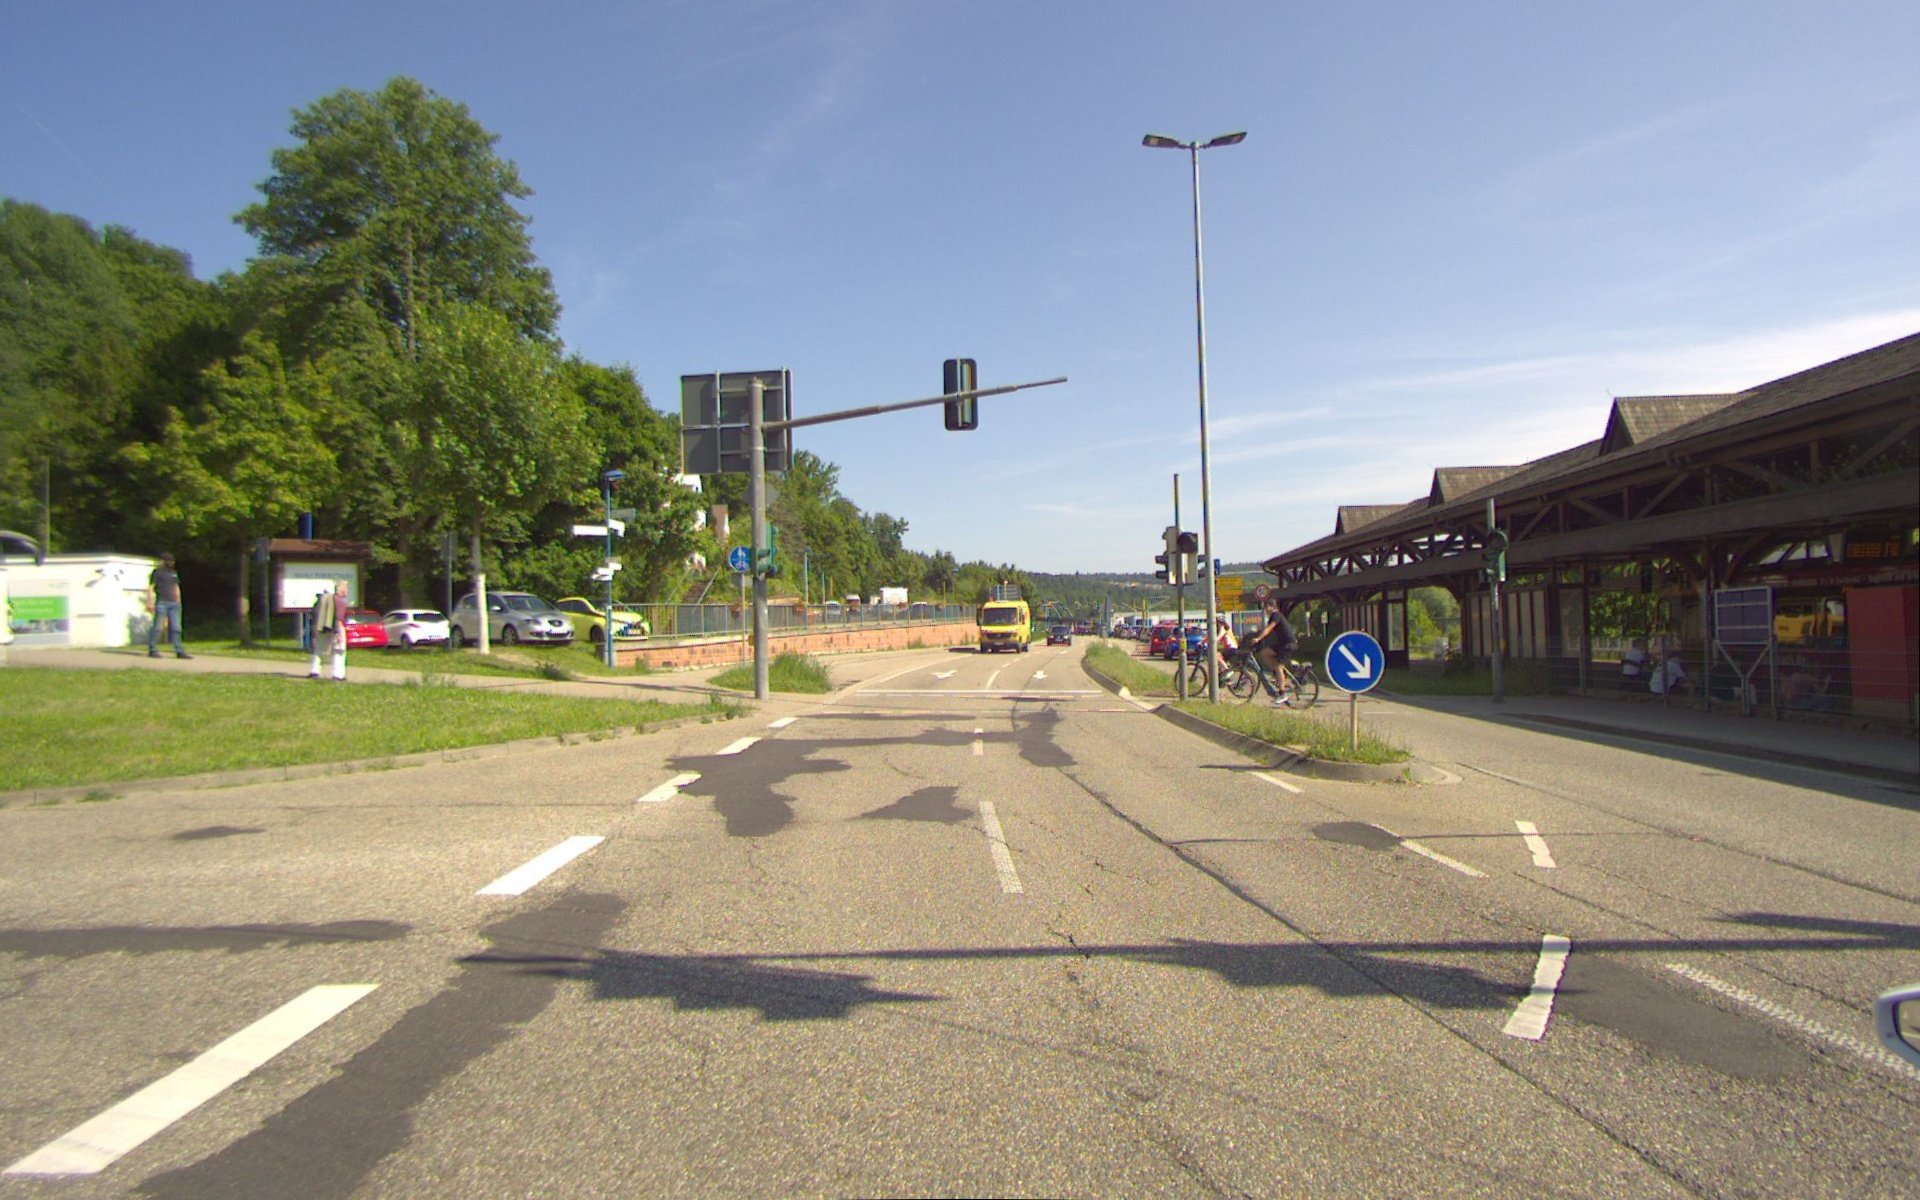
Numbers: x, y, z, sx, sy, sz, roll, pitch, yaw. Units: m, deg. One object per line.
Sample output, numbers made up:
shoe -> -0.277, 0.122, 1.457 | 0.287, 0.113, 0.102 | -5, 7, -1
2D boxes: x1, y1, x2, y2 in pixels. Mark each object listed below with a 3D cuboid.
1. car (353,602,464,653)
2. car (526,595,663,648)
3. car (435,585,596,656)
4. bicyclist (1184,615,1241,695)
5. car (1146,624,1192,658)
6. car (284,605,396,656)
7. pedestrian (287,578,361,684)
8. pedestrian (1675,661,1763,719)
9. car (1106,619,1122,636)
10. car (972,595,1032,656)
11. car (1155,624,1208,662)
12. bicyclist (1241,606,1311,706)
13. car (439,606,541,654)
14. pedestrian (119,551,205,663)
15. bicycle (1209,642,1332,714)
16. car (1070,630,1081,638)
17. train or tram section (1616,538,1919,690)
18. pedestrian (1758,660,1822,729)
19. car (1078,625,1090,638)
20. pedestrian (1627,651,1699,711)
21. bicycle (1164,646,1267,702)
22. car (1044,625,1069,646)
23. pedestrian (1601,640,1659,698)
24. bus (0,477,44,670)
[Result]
car -> -20.567, 0.991, 37.429 | 3.930, 1.723, 1.909 | 2, 0, 32
car -> -10.956, 0.609, 30.057 | 3.933, 1.400, 1.908 | 2, 0, 35
car -> -12.305, 0.546, 27.727 | 4.342, 1.718, 2.051 | 2, -1, 35
bicyclist -> 5.177, 1.117, 20.649 | 0.938, 1.585, 0.806 | -1, 0, -3
car -> 10.146, 1.984, 49.057 | 1.959, 1.592, 4.003 | 1, -2, 8
car -> -21.813, 1.038, 35.319 | 3.933, 1.580, 1.908 | 2, 0, 35
pedestrian -> -10.592, 0.503, 16.741 | 0.699, 1.700, 0.741 | 2, 0, 2
pedestrian -> 12.607, 1.485, 16.704 | 0.831, 0.886, 0.808 | 2, 0, -1
car -> 21.299, 3.821, 138.972 | 1.959, 2.172, 4.723 | 1, -2, 7
car -> 2.374, 1.385, 54.309 | 2.425, 3.050, 6.471 | 1, -2, 9
car -> 9.549, 1.822, 43.547 | 1.836, 1.568, 4.003 | 0, -1, 6
bicyclist -> 5.626, 0.981, 17.937 | 0.973, 1.713, 0.807 | 2, 0, 1
car -> -18.509, 1.160, 39.513 | 3.936, 1.693, 1.993 | 2, 0, 37
pedestrian -> -14.438, 0.134, 18.203 | 0.726, 1.933, 0.857 | 3, -1, 1
bicycle -> 5.528, 1.378, 17.948 | 1.960, 1.177, 0.735 | 2, -1, 2
car -> 21.396, 6.313, 186.578 | 1.761, 1.490, 4.719 | 0, -1, 10
train or tram section -> 23.193, 0.438, 27.873 | 2.709, 3.409, 12.053 | 2, -1, 4
pedestrian -> 12.478, 1.417, 15.103 | 0.607, 0.979, 0.406 | 2, 0, -1
car -> 20.784, 5.237, 168.153 | 1.959, 2.040, 4.003 | 1, -1, 7
pedestrian -> 12.706, 1.457, 18.179 | 0.730, 0.995, 0.769 | 2, 0, -1
bicycle -> 5.235, 1.510, 20.649 | 1.934, 1.079, 0.735 | 0, 0, -3
car -> 7.062, 2.607, 73.383 | 1.716, 1.482, 4.046 | -1, -1, 6
pedestrian -> 13.851, 1.410, 20.770 | 0.730, 1.131, 0.667 | 2, 0, -1
bus -> -23.233, -0.669, 16.221 | 2.825, 3.763, 12.167 | 2, 0, 38
